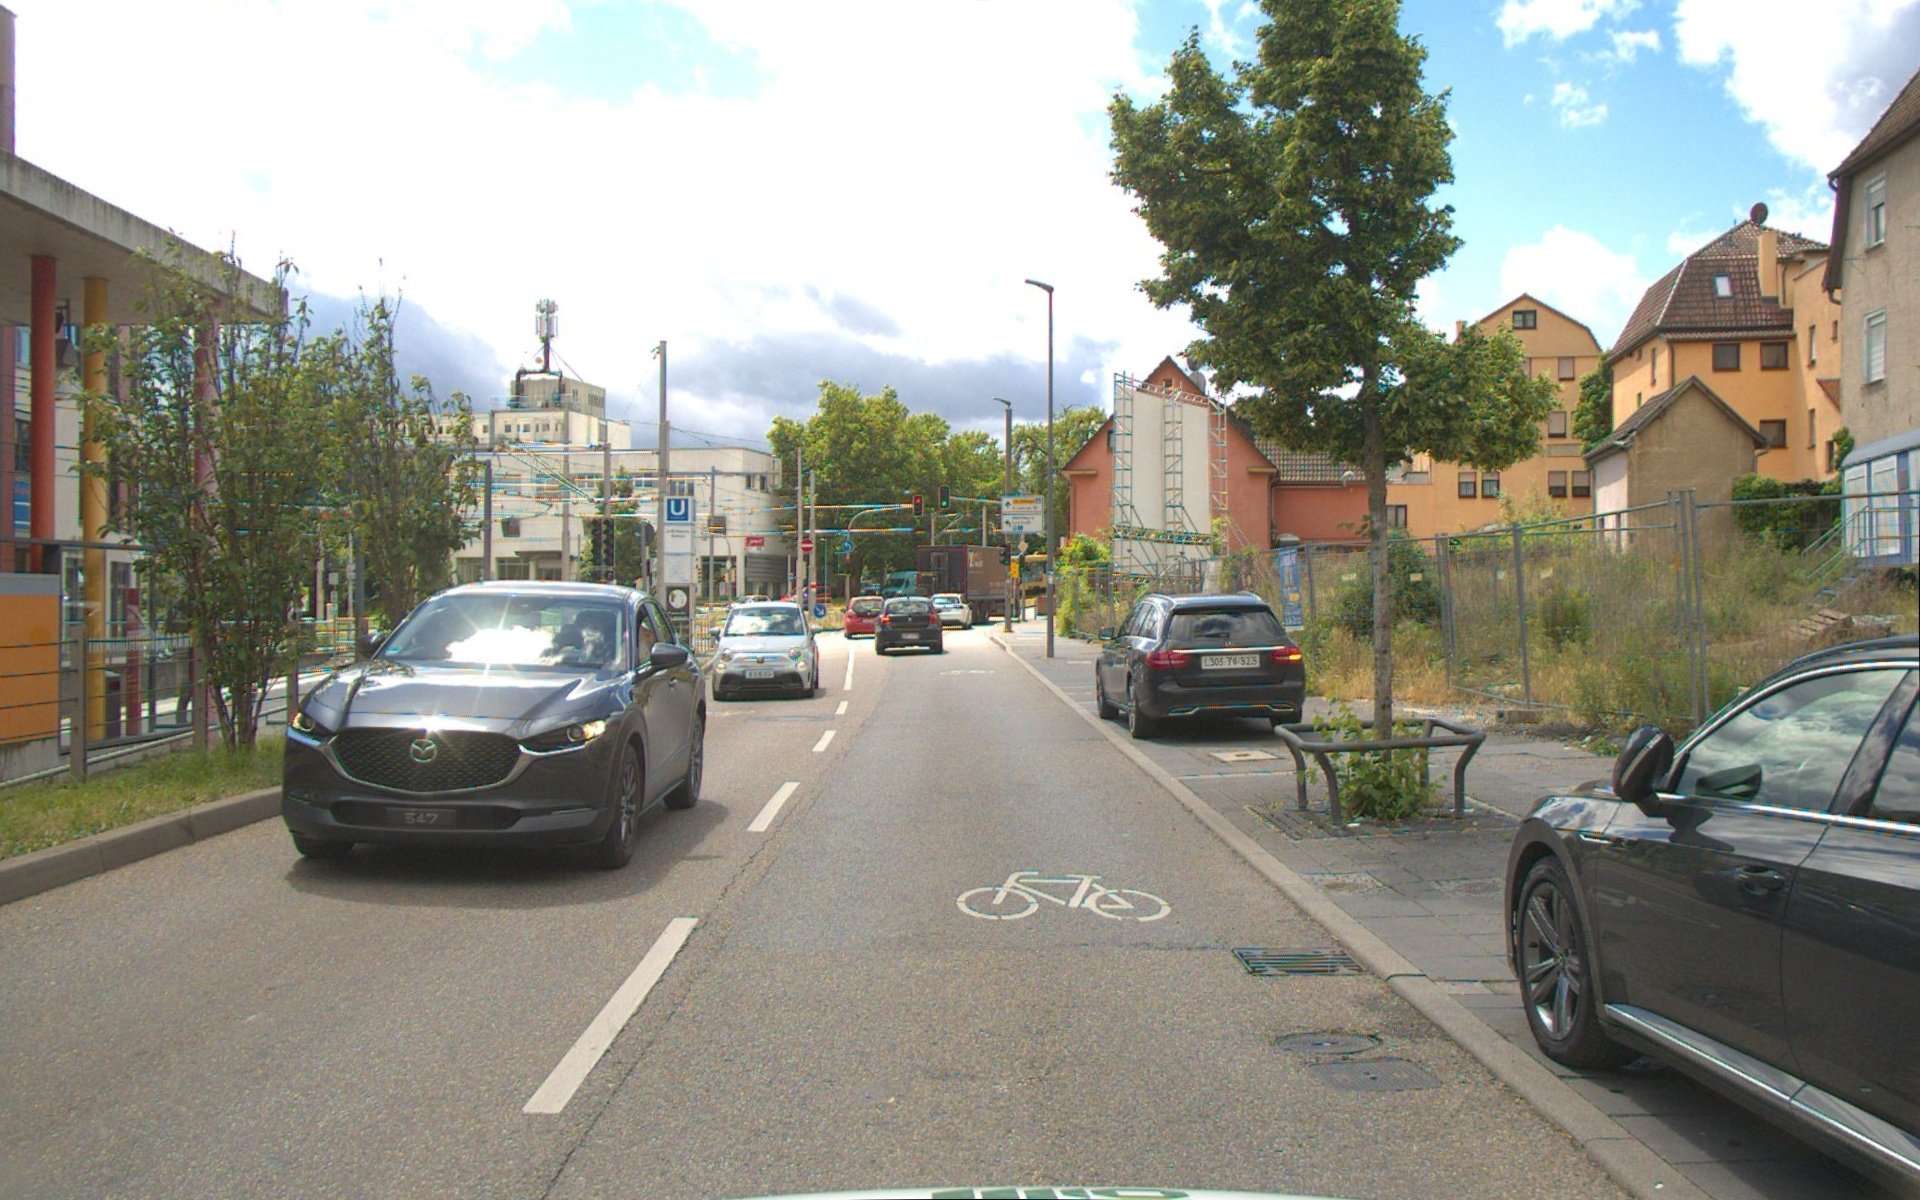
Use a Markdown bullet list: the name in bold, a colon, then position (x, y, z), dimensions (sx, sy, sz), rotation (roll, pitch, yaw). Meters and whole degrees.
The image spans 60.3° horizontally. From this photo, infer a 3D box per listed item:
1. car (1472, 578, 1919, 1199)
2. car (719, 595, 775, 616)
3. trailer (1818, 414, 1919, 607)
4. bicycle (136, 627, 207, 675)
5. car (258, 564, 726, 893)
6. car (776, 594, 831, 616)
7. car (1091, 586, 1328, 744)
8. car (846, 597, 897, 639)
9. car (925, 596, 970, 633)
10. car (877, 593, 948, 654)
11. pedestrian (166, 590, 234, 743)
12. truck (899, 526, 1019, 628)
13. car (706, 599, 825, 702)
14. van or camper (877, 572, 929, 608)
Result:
- **car**: position (2.818, 0.677, 3.737), dimensions (1.827, 1.476, 4.643), rotation (-2, 0, 0)
- **car**: position (-15.916, 0.414, 123.750), dimensions (1.962, 1.490, 3.981), rotation (0, 0, 39)
- **trailer**: position (17.565, -1.522, 29.574), dimensions (2.353, 3.177, 6.166), rotation (-2, 0, 13)
- **bicycle**: position (-19.689, 1.270, 41.306), dimensions (1.535, 1.120, 0.408), rotation (-2, -2, -3)
- **car**: position (-2.578, 0.637, 10.199), dimensions (1.689, 1.548, 4.253), rotation (2, 0, -1)
- **car**: position (-12.218, 0.365, 128.968), dimensions (1.961, 1.628, 4.181), rotation (-1, 1, 38)
- **car**: position (2.603, 0.623, 18.287), dimensions (1.746, 1.477, 4.474), rotation (-2, 0, -2)
- **car**: position (-3.181, 0.620, 58.843), dimensions (1.678, 1.418, 3.805), rotation (-1, 0, -5)
- **car**: position (-0.533, 0.605, 70.112), dimensions (1.849, 1.491, 4.068), rotation (-1, -1, -1)
- **car**: position (-1.269, 0.569, 42.707), dimensions (1.692, 1.482, 3.806), rotation (-1, 0, -4)
- **pedestrian**: position (-9.648, 0.823, 21.012), dimensions (0.724, 1.877, 0.779), rotation (1, 1, -22)
- **truck**: position (0.091, -1.008, 80.907), dimensions (3.136, 4.615, 9.031), rotation (0, -2, 18)
- **car**: position (-3.136, 0.765, 27.269), dimensions (1.736, 1.534, 3.997), rotation (-1, 0, -4)
- **van or camper**: position (-4.885, -0.871, 142.889), dimensions (2.131, 2.855, 6.067), rotation (0, -2, 22)
